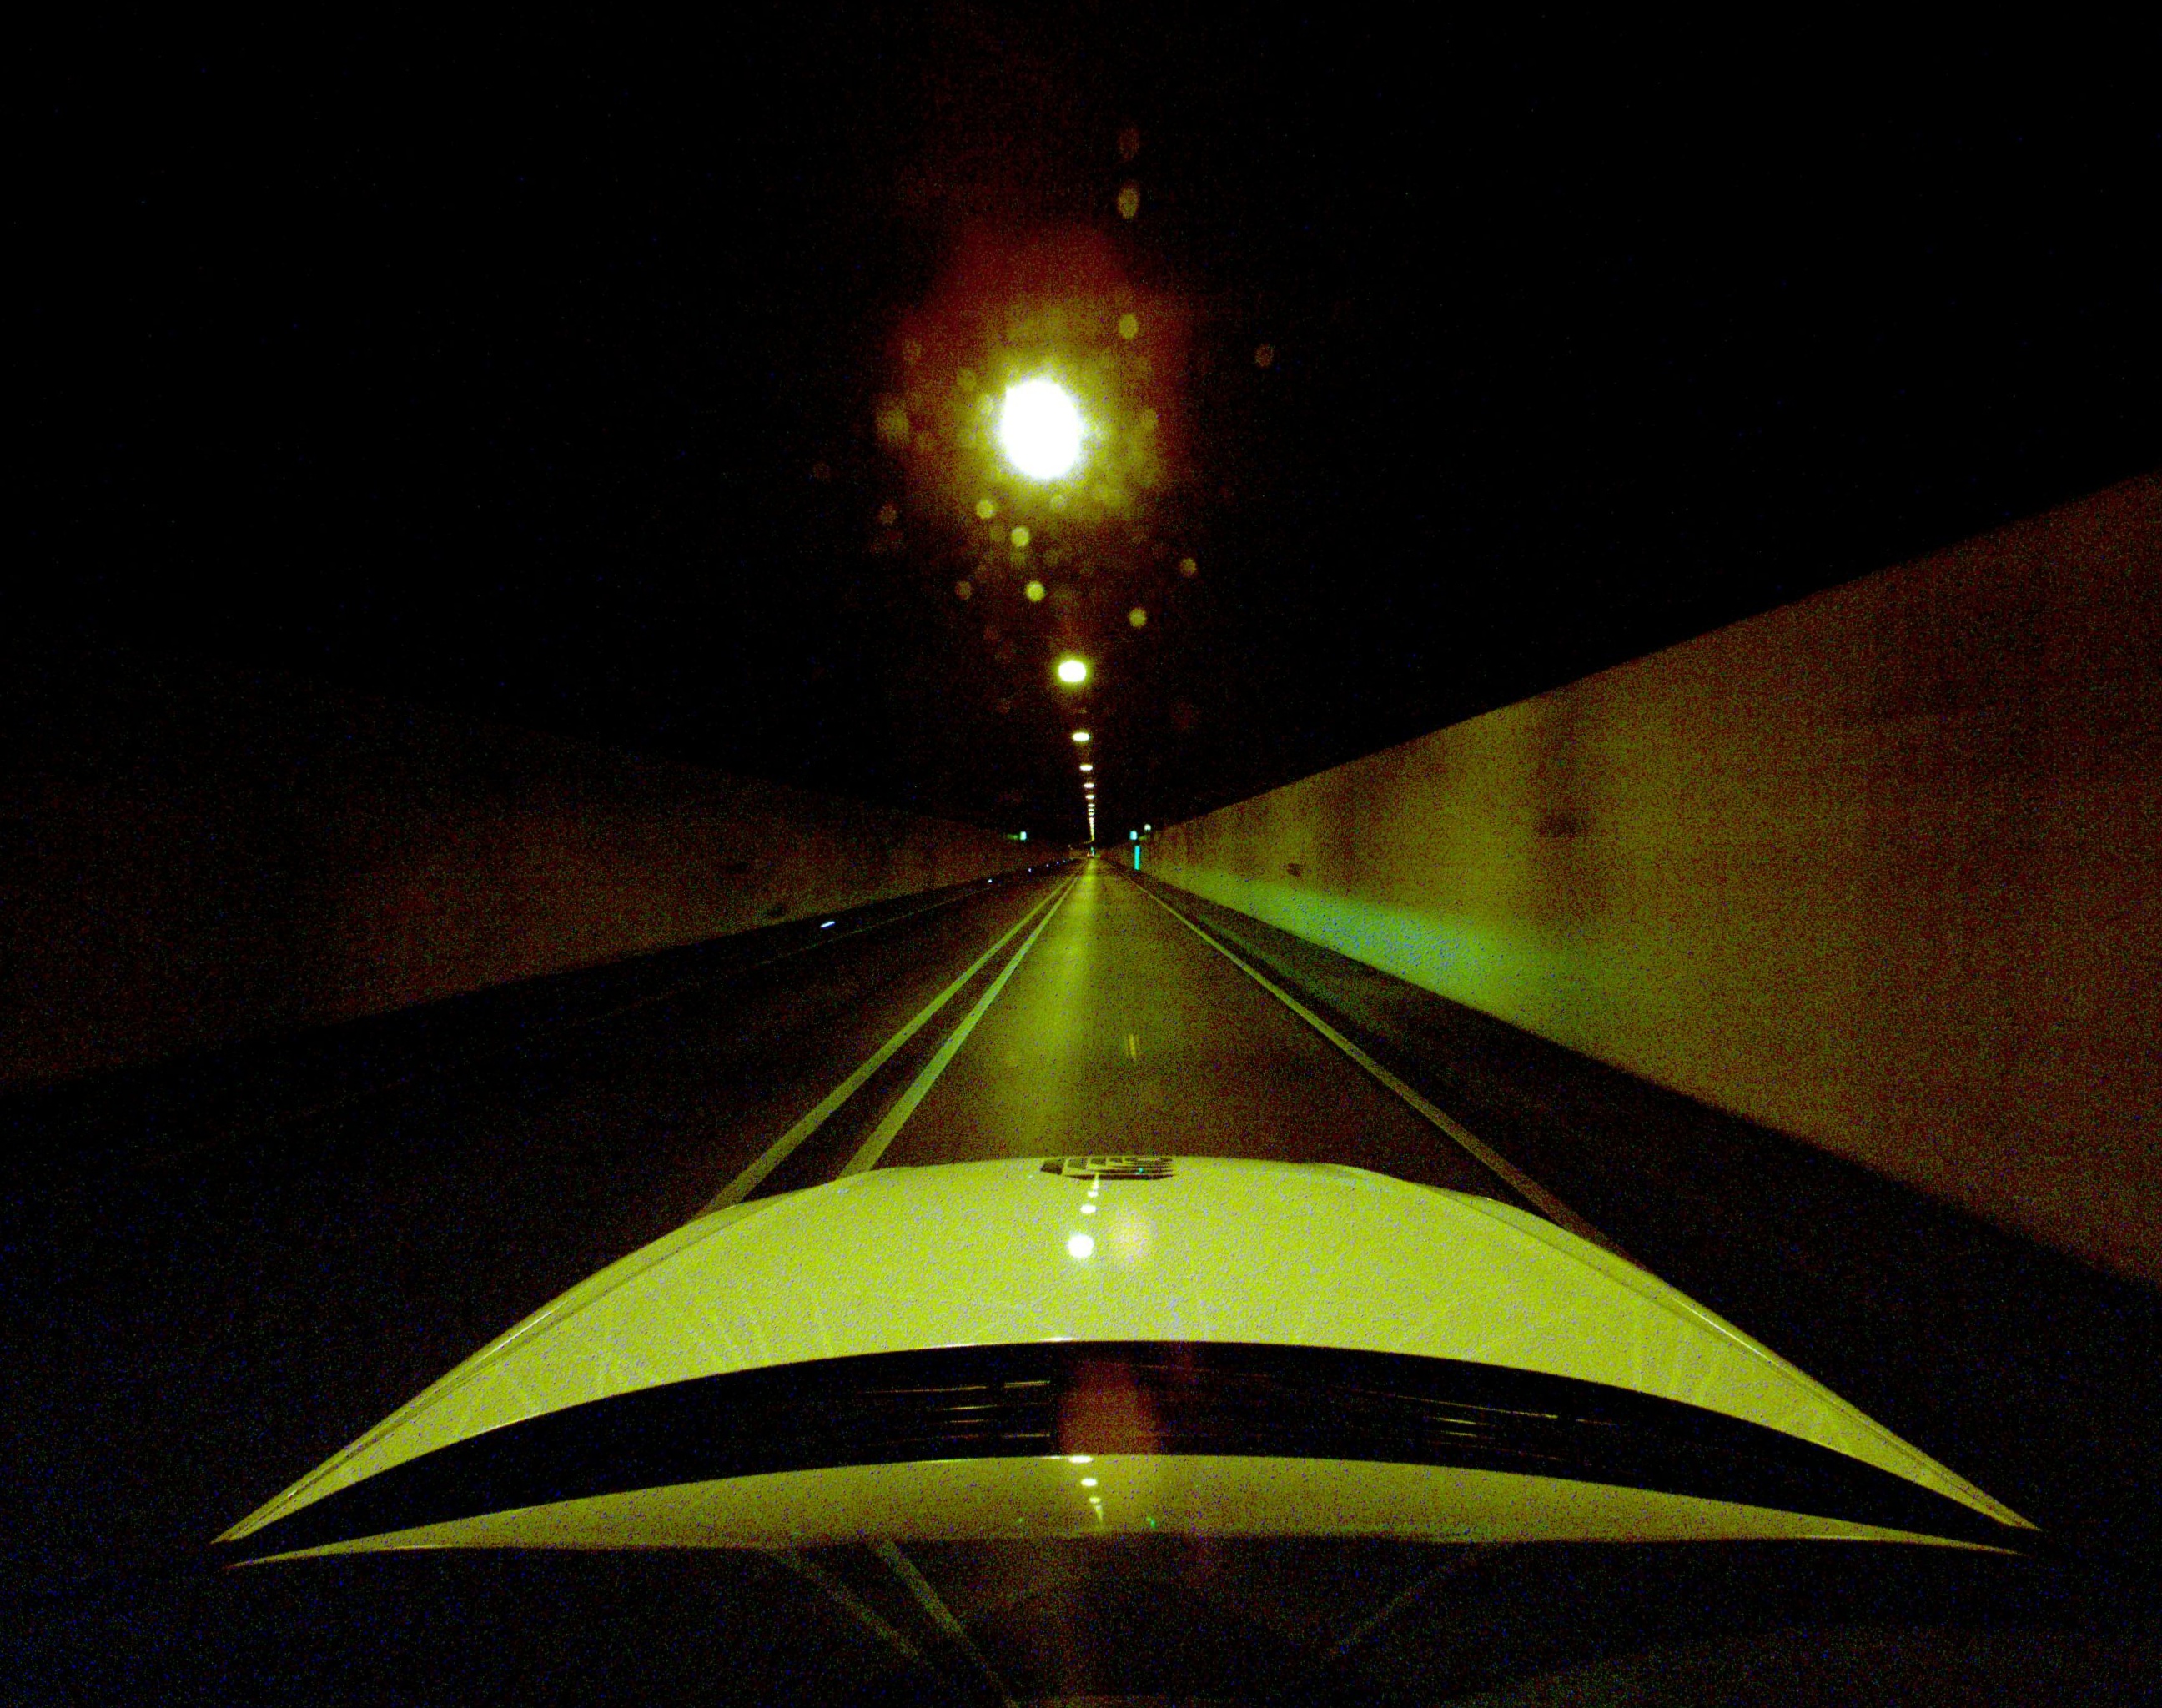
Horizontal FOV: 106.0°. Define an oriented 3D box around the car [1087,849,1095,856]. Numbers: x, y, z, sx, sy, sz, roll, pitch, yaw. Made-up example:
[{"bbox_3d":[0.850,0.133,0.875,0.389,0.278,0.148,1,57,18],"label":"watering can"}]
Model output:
[{"bbox_3d":[2.902,-0.323,233.525,1.963,1.939,4.606,0,-1,-4],"label":"car"}]
